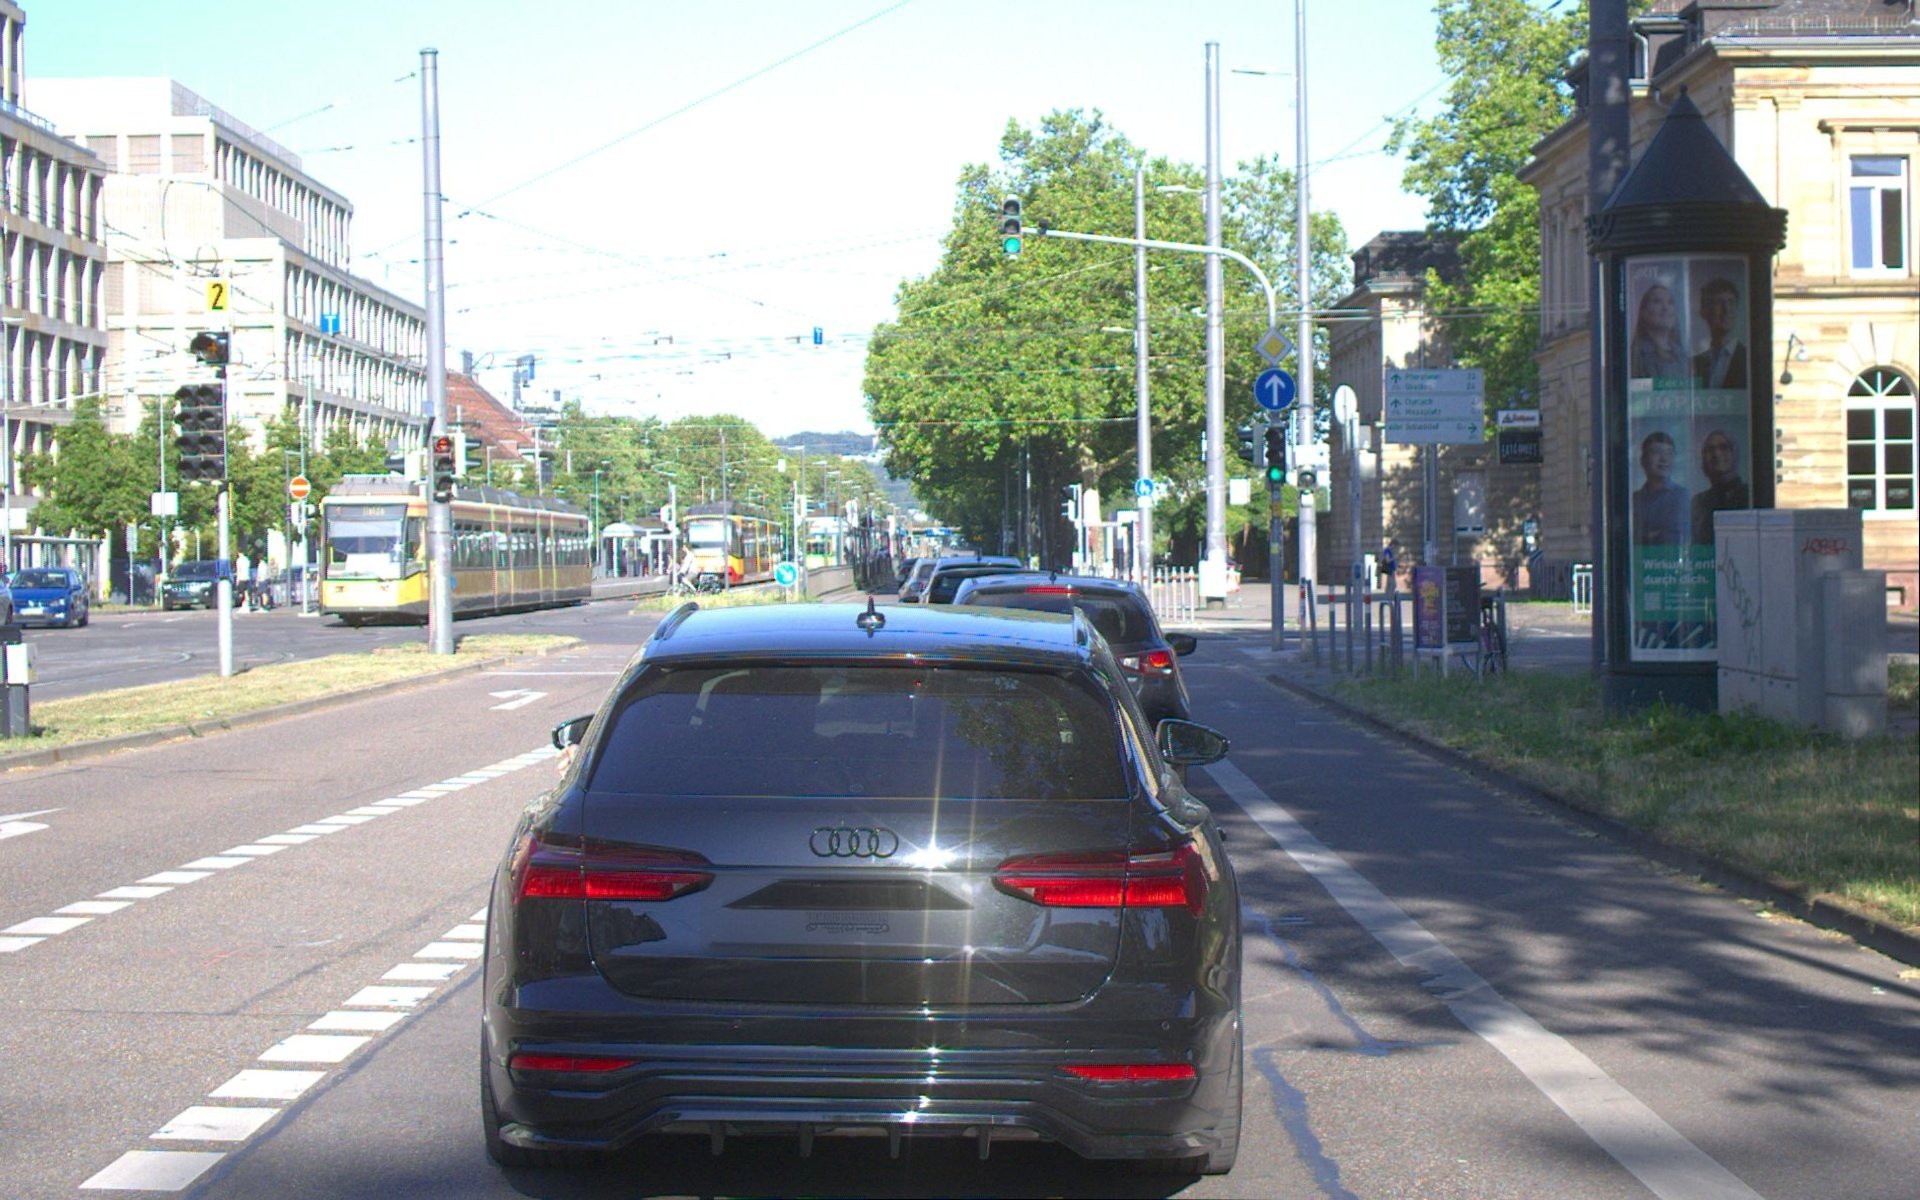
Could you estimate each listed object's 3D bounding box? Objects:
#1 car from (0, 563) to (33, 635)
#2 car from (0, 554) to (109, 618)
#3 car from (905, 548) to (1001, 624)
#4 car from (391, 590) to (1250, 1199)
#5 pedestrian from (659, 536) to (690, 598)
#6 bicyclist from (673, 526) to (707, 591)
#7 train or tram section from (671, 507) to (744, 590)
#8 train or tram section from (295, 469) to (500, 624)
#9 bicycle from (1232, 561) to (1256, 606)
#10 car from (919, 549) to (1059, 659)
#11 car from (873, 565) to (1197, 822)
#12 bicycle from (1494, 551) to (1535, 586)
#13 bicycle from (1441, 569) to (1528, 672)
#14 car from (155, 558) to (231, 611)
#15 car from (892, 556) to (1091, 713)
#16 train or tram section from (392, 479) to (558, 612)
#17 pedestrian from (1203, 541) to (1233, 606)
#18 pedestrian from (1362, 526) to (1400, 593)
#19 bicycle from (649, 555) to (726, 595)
[{"bbox_3d":[-20.259,0.000,69.511,1.820,1.452,4.541,-1,1,-1],"label":"car"},{"bbox_3d":[-21.632,-0.354,81.724,1.820,1.452,4.157,-1,1,-1],"label":"car"},{"bbox_3d":[-0.124,-0.302,69.800,1.902,1.481,4.145,0,1,0],"label":"car"},{"bbox_3d":[-0.297,0.711,9.694,1.902,1.417,4.145,0,1,0],"label":"car"},{"bbox_3d":[-8.096,-0.945,97.529,0.739,1.735,0.664,-1,1,-17],"label":"pedestrian"},{"bbox_3d":[-7.545,-1.158,95.998,0.756,1.812,0.765,-1,1,-18],"label":"bicyclist"},{"bbox_3d":[-10.860,-2.227,148.684,2.608,3.439,11.133,-1,1,-2],"label":"train or tram section"},{"bbox_3d":[-13.568,-1.309,84.137,2.813,3.477,13.204,-1,1,0],"label":"train or tram section"},{"bbox_3d":[7.287,-0.427,88.224,0.434,1.141,1.340,-1,1,-2],"label":"bicycle"},{"bbox_3d":[0.405,0.023,48.627,1.902,1.481,4.145,0,1,0],"label":"car"},{"bbox_3d":[0.452,0.531,22.281,1.902,1.481,4.145,0,1,0],"label":"car"},{"bbox_3d":[16.836,-0.970,104.412,0.526,1.043,2.360,-1,1,-8],"label":"bicycle"},{"bbox_3d":[5.605,0.204,36.780,0.540,1.058,1.772,-1,1,-4],"label":"bicycle"},{"bbox_3d":[-27.372,-0.560,122.771,1.842,1.806,4.113,-1,1,-1],"label":"car"},{"bbox_3d":[0.313,0.306,34.862,1.902,1.481,4.145,0,1,0],"label":"car"},{"bbox_3d":[-13.580,-1.530,97.355,2.813,3.477,13.204,-1,1,0],"label":"train or tram section"},{"bbox_3d":[6.631,-0.684,88.279,0.682,1.655,0.758,-1,1,-2],"label":"pedestrian"},{"bbox_3d":[11.729,-1.136,95.785,0.979,1.859,0.827,-1,1,2],"label":"pedestrian"},{"bbox_3d":[-7.609,-0.702,95.990,2.005,1.104,0.765,-1,1,-18],"label":"bicycle"}]
